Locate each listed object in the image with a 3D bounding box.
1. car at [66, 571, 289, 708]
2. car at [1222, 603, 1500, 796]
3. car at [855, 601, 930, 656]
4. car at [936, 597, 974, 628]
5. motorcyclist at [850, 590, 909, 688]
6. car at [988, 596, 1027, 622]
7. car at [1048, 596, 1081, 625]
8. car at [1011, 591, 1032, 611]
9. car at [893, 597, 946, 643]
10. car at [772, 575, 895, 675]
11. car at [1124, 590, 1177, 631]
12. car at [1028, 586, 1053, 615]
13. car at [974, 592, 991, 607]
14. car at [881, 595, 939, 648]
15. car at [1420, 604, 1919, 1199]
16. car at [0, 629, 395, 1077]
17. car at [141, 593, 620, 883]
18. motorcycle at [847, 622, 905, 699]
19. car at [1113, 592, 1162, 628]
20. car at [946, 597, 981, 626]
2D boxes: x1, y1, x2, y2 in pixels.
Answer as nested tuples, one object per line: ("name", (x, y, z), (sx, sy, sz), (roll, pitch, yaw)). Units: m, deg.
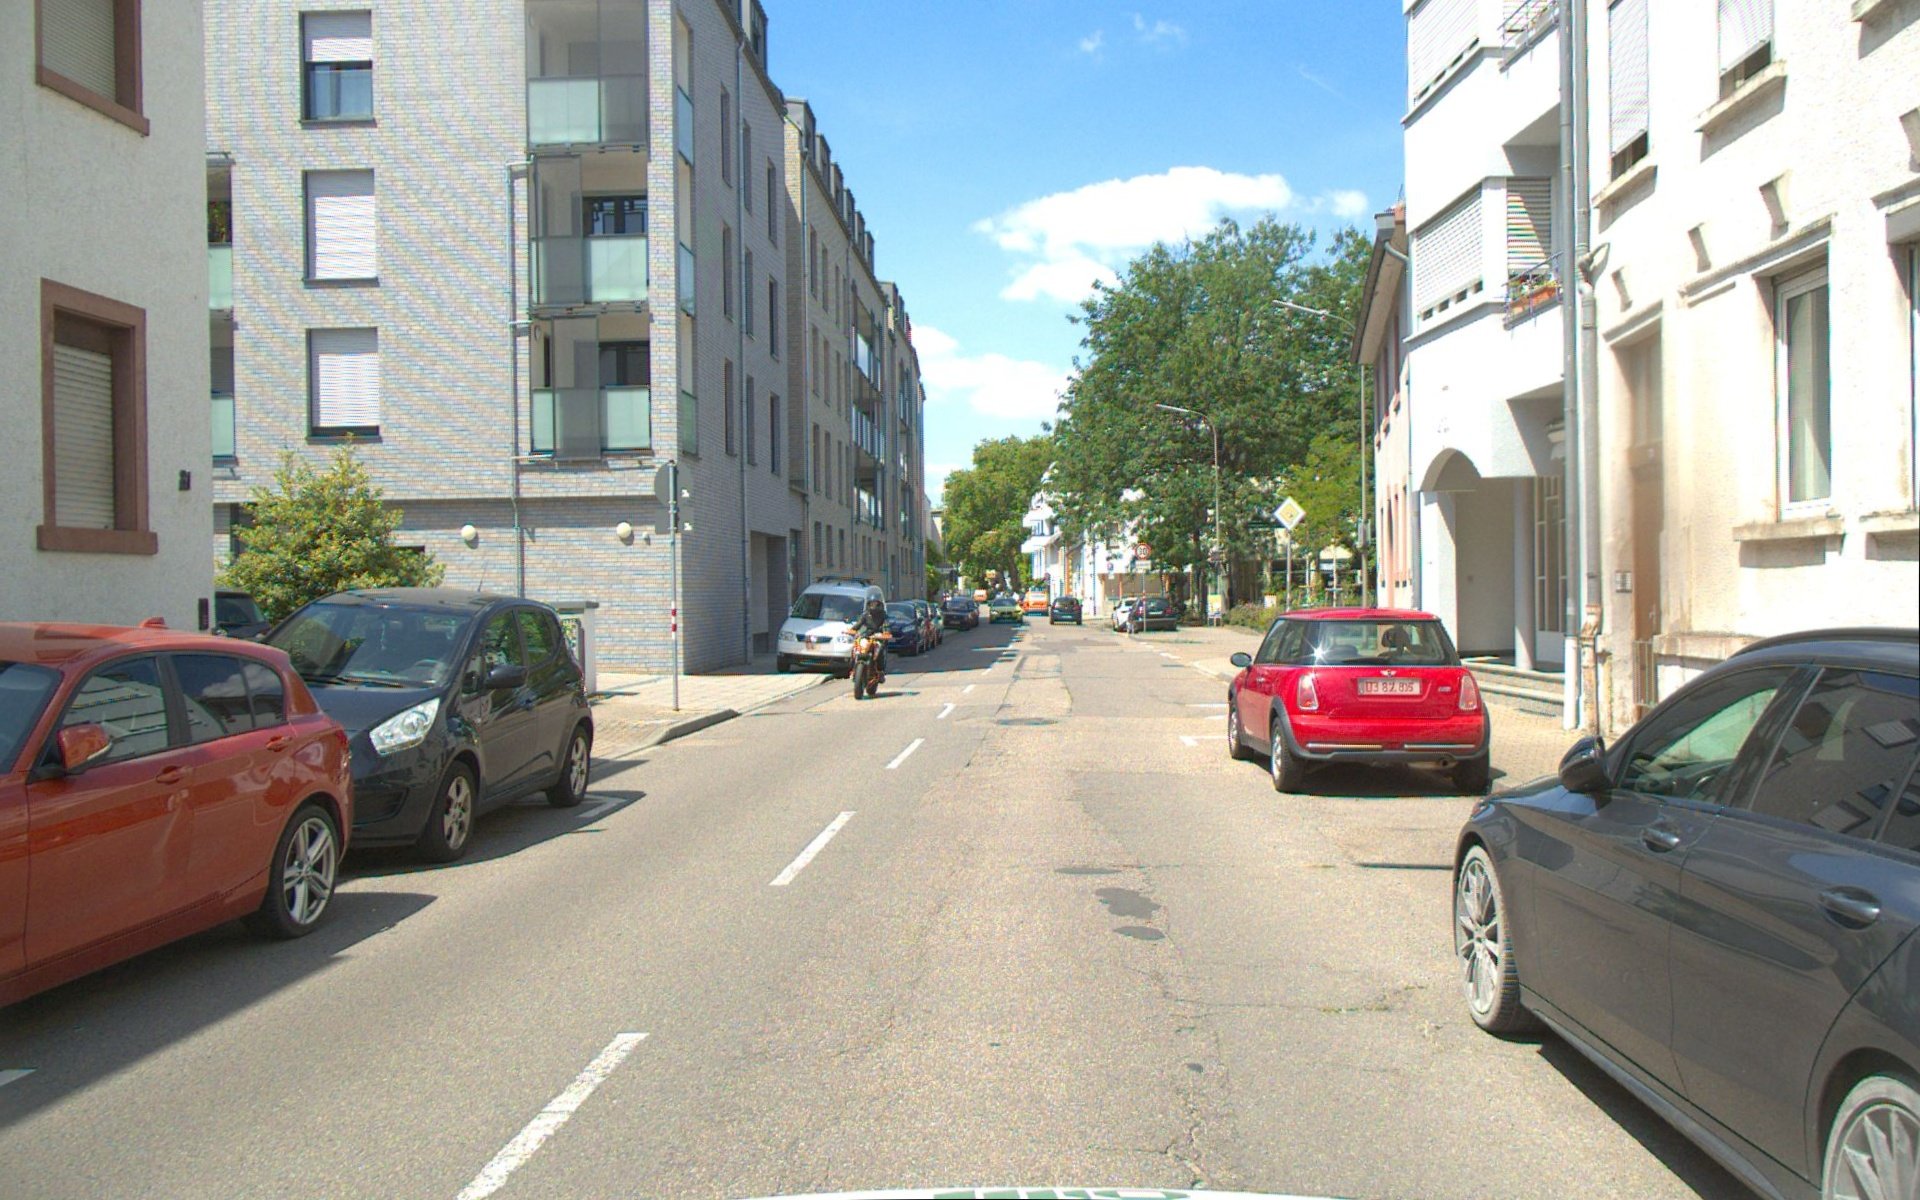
("car", (-9.930, 0.437, 20.877), (1.624, 1.566, 3.509), (1, 0, -42))
("car", (3.309, 0.753, 14.254), (1.585, 1.410, 3.539), (-1, 0, 1))
("car", (-1.859, 0.764, 46.879), (1.687, 1.481, 4.007), (0, 0, 4))
("car", (-0.206, 0.624, 82.134), (1.696, 1.467, 4.001), (-1, 0, 2))
("motorcyclist", (-1.298, 0.620, 26.725), (0.805, 1.535, 1.057), (-1, 0, 3))
("car", (2.701, 0.489, 94.029), (1.951, 1.405, 4.395), (1, 0, 5))
("car", (5.593, 0.540, 88.552), (1.679, 1.426, 4.002), (-1, 1, 3))
("car", (5.253, 0.047, 142.311), (1.676, 1.662, 3.704), (-1, 0, 1))
("car", (-1.359, 0.653, 56.273), (1.557, 1.481, 3.704), (1, 0, 2))
("car", (-2.561, 0.465, 34.426), (1.720, 1.925, 4.340), (1, 1, 7))
("car", (7.418, 0.411, 64.600), (1.657, 1.444, 4.001), (-4, 0, 2))
("car", (5.909, 0.023, 120.931), (1.800, 2.049, 4.002), (-1, 1, 3))
("car", (3.102, -0.081, 228.321), (2.111, 2.049, 4.002), (-1, 0, 4))
("car", (-1.554, 0.656, 52.020), (1.557, 1.581, 3.572), (-1, 0, 2))
("car", (2.638, 0.760, 4.258), (1.693, 1.445, 4.545), (-1, 0, 1))
("car", (-4.048, 0.895, 6.574), (1.795, 1.441, 4.292), (-1, 0, 5))
("car", (-3.773, 0.789, 11.557), (1.757, 1.675, 3.947), (0, 0, 4))
("motorcycle", (-1.337, 0.952, 26.702), (0.673, 1.142, 2.029), (-1, 0, 4))
("car", (7.584, 0.421, 70.898), (1.742, 1.445, 4.001), (-1, 0, 2))
("car", (0.208, 0.570, 87.199), (1.696, 1.467, 4.001), (-1, 0, 2))
